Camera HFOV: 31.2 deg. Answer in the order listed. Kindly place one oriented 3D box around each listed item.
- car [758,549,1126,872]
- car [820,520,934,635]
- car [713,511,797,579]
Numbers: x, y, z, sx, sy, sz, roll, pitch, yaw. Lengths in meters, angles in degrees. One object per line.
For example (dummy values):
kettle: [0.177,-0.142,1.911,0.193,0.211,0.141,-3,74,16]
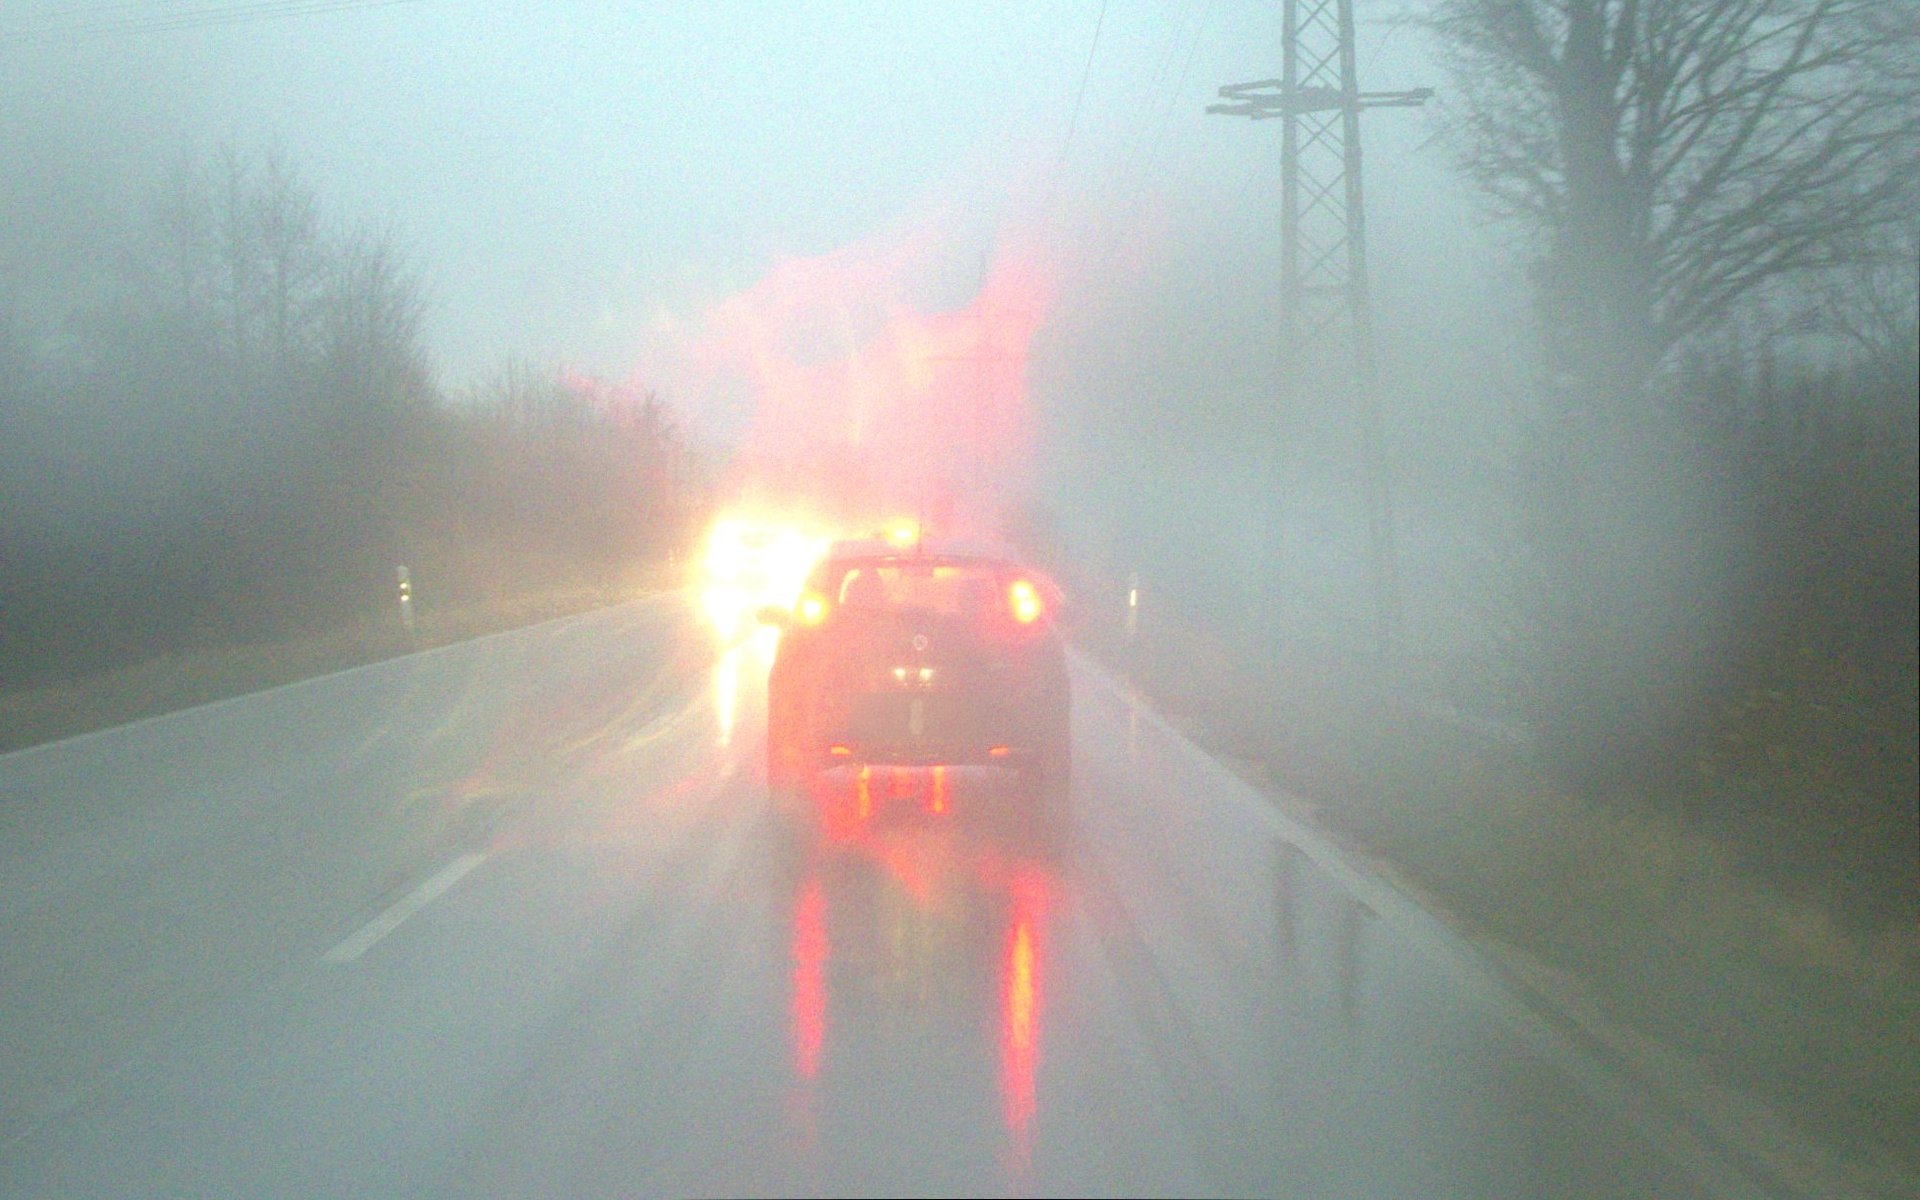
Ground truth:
car: [-0.129,0.574,20.714,1.993,1.746,4.000,0,1,-1]
car: [-1.499,-0.436,63.135,1.993,2.007,4.000,-1,1,-1]
car: [-5.313,-1.424,89.533,1.808,1.531,4.408,6,1,-1]
